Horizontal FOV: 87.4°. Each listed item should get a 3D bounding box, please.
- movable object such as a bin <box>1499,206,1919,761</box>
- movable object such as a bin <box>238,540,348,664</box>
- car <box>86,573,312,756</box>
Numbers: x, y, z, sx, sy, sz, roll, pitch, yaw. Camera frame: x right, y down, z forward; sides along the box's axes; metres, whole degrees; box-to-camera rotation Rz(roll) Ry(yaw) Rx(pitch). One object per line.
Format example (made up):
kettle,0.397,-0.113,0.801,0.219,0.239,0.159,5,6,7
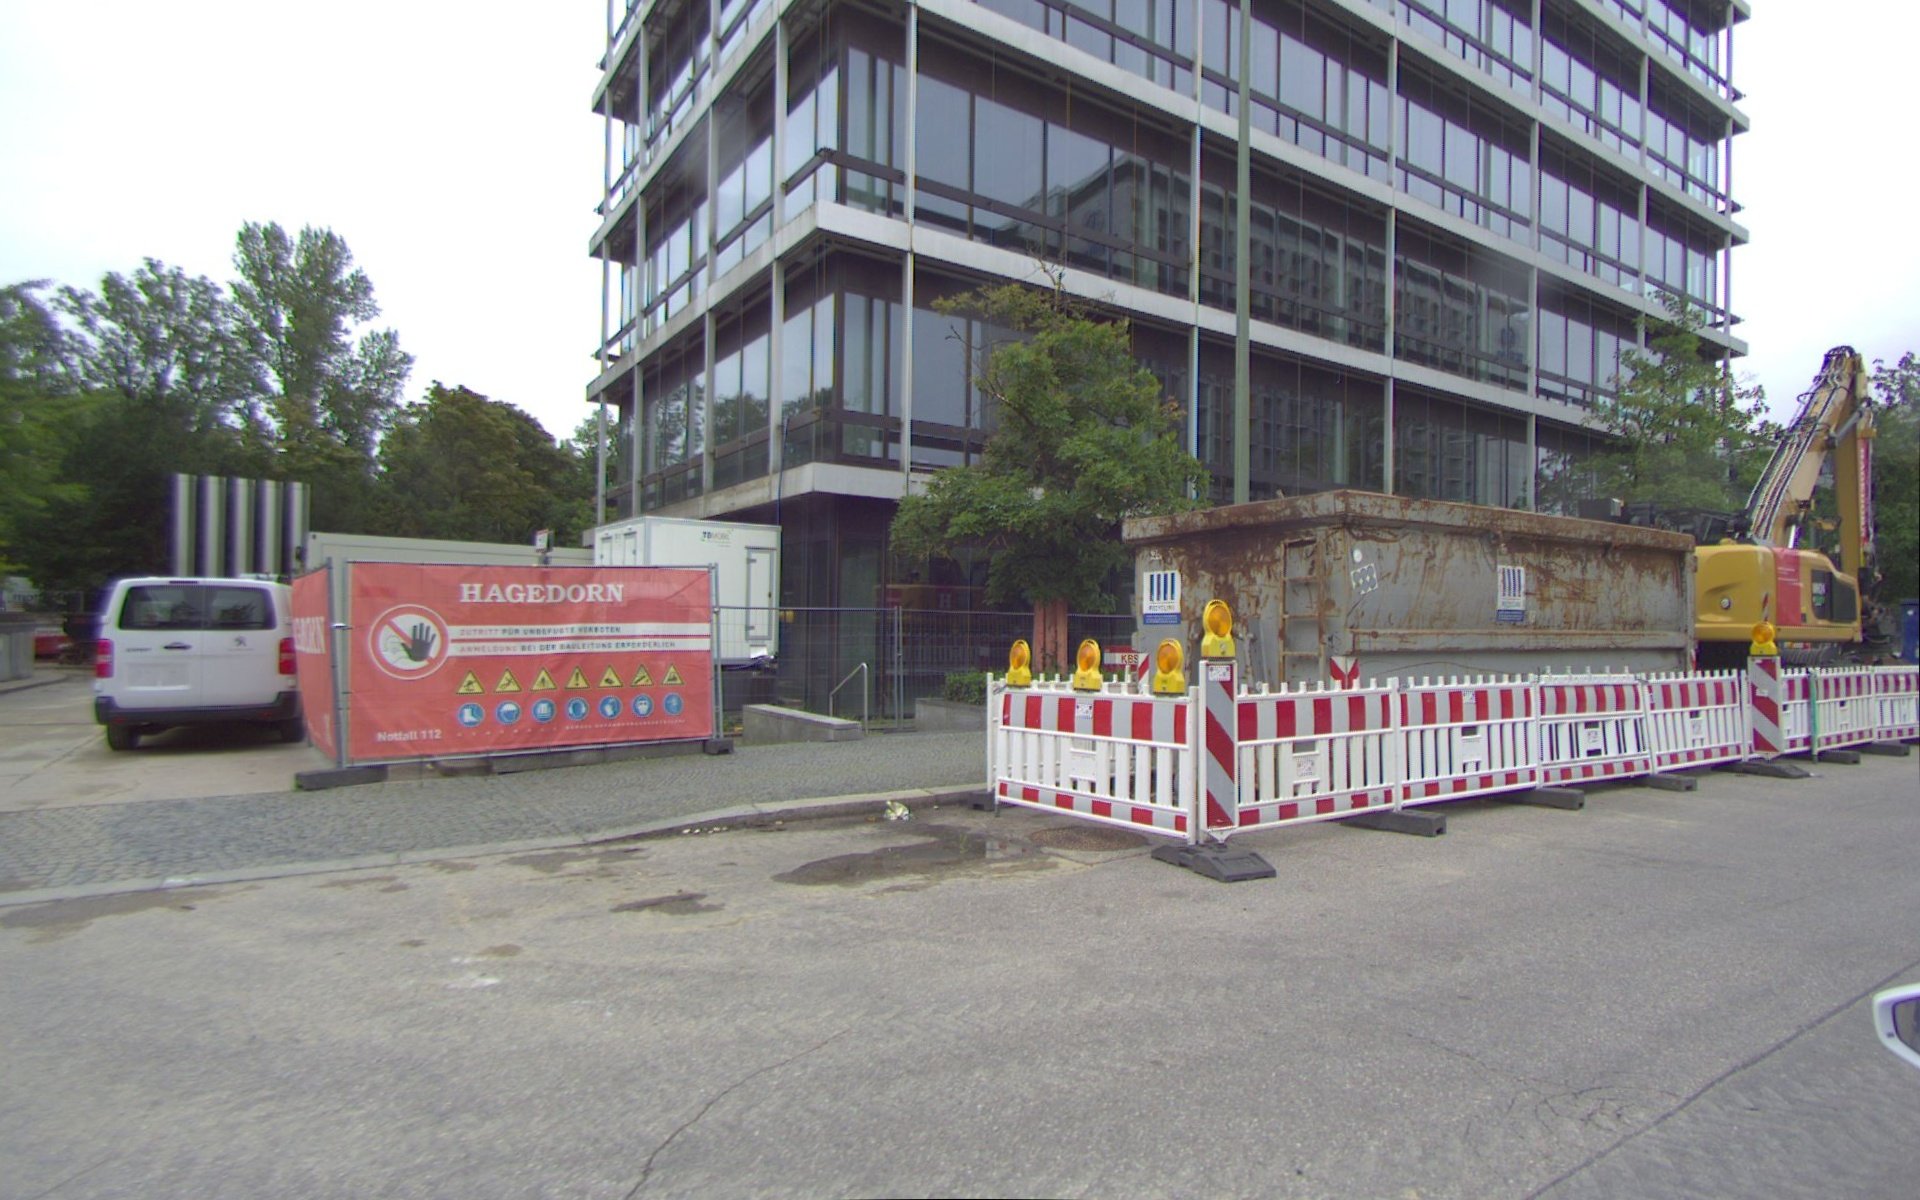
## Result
movable object such as a bin,13.341,-1.245,16.512,11.663,6.651,2.886,2,-1,-34
movable object such as a bin,-21.446,0.128,32.528,2.550,3.675,4.568,1,-2,-29
car,-9.479,0.713,12.874,1.763,1.890,4.675,1,-1,-31
